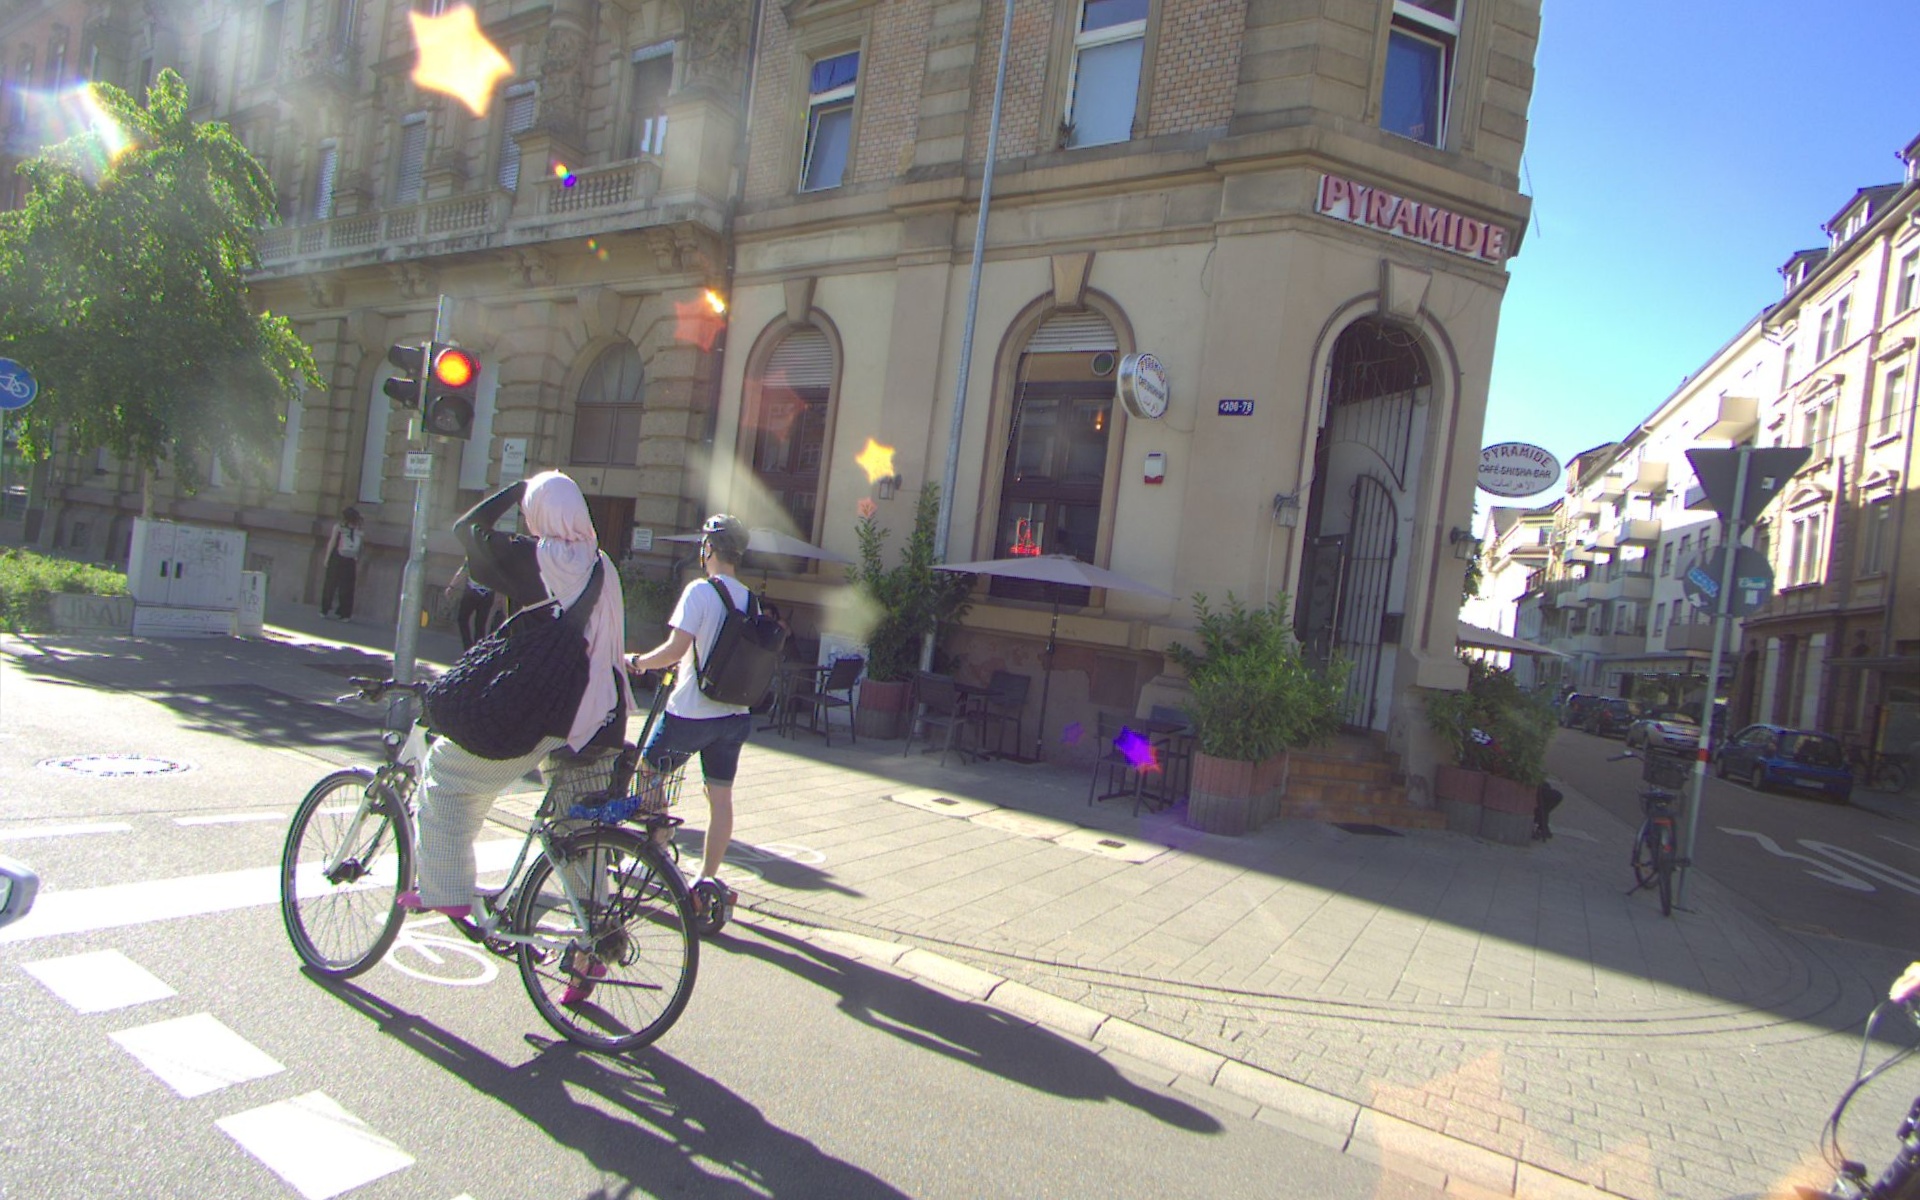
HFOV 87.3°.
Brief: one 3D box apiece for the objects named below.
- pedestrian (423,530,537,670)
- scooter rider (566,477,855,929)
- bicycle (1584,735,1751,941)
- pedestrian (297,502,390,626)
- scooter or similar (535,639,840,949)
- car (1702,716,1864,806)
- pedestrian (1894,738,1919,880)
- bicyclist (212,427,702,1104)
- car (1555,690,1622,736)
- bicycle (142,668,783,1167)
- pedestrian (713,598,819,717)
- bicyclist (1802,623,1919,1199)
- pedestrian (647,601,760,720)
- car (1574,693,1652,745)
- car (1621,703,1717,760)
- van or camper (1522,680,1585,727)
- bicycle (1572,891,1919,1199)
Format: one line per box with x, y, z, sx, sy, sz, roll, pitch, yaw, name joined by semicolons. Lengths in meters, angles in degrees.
-6.400;-0.001;13.404;0.966;1.714;1.100;4;2;-44;pedestrian
-1.169;0.442;4.770;0.882;1.888;0.663;7;-1;27;scooter rider
5.782;1.823;8.178;0.804;1.247;2.211;11;2;38;bicycle
-10.422;-0.605;17.005;1.081;1.945;0.889;7;2;37;pedestrian
-1.293;0.860;4.798;1.130;1.172;0.647;7;-1;26;scooter or similar
18.397;3.535;22.690;1.587;1.428;3.703;7;-1;21;car
11.456;2.447;11.349;0.891;1.592;0.835;7;-1;4;pedestrian
-1.636;0.451;3.336;1.071;1.839;0.726;7;-1;23;bicyclist
25.897;4.636;41.566;1.599;1.424;3.439;9;1;22;car
-1.655;0.876;3.316;1.917;1.018;0.726;7;-1;24;bicycle
-2.330;0.692;12.103;0.873;1.298;0.726;6;0;31;pedestrian
2.416;0.964;1.947;0.972;1.747;0.853;7;-1;32;bicyclist
-2.874;0.671;11.287;0.867;1.197;0.718;6;0;31;pedestrian
23.870;4.311;36.882;1.599;1.424;3.439;9;1;22;car
21.469;3.960;30.608;1.600;1.337;3.389;7;-1;24;car
30.221;5.229;51.348;1.850;1.867;4.545;9;1;22;van or camper
2.356;1.374;1.949;1.920;1.018;0.829;7;-1;32;bicycle
